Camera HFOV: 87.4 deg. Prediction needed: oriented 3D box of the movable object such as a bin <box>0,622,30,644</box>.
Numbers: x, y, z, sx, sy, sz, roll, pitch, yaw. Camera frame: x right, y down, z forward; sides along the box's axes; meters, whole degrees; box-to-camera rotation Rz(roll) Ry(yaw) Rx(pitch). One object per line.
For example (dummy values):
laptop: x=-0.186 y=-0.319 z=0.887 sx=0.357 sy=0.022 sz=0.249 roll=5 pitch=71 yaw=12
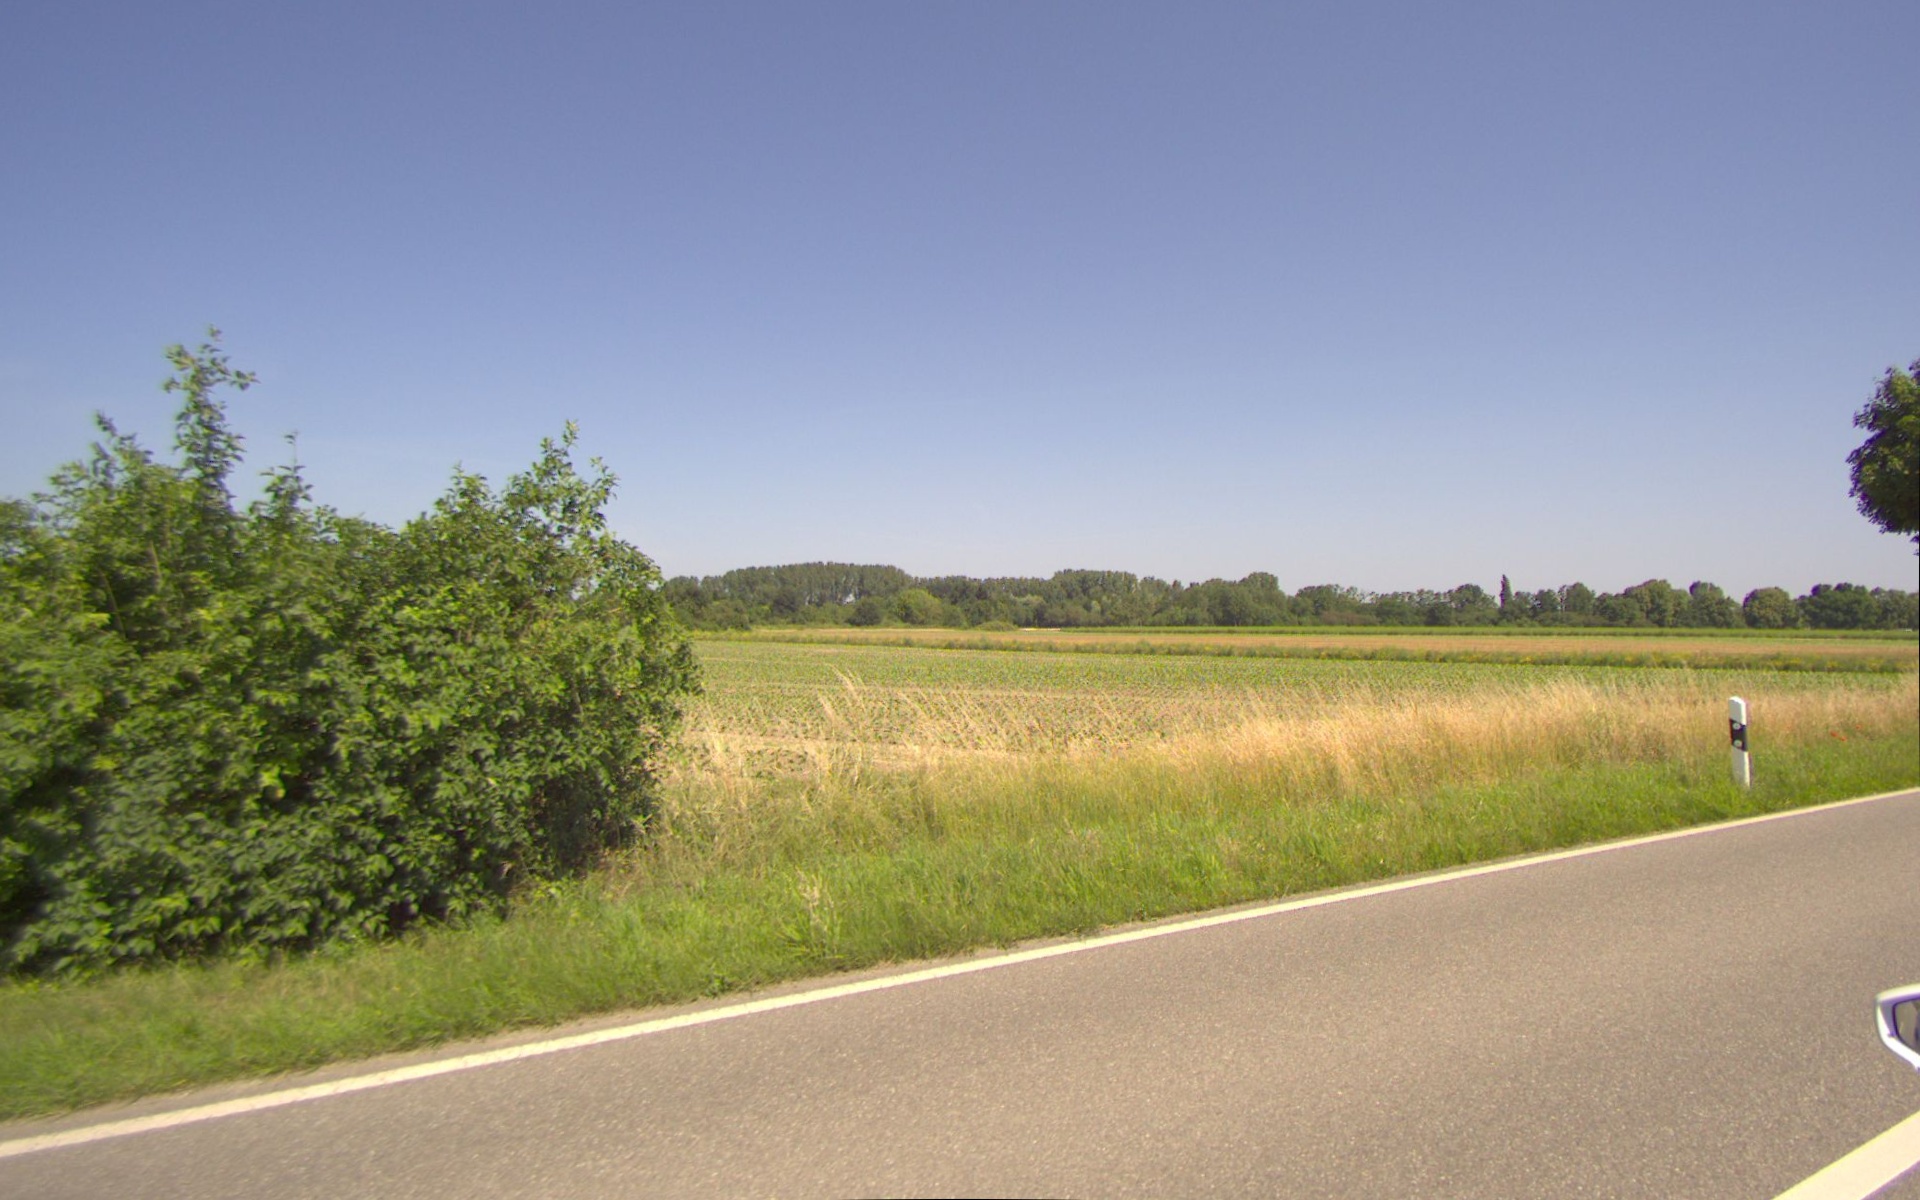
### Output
movable object such as a bin: x=-175.399 y=6.050 z=183.350 sx=9.777 sy=3.899 sz=2.549 roll=-1 pitch=-2 yaw=7
